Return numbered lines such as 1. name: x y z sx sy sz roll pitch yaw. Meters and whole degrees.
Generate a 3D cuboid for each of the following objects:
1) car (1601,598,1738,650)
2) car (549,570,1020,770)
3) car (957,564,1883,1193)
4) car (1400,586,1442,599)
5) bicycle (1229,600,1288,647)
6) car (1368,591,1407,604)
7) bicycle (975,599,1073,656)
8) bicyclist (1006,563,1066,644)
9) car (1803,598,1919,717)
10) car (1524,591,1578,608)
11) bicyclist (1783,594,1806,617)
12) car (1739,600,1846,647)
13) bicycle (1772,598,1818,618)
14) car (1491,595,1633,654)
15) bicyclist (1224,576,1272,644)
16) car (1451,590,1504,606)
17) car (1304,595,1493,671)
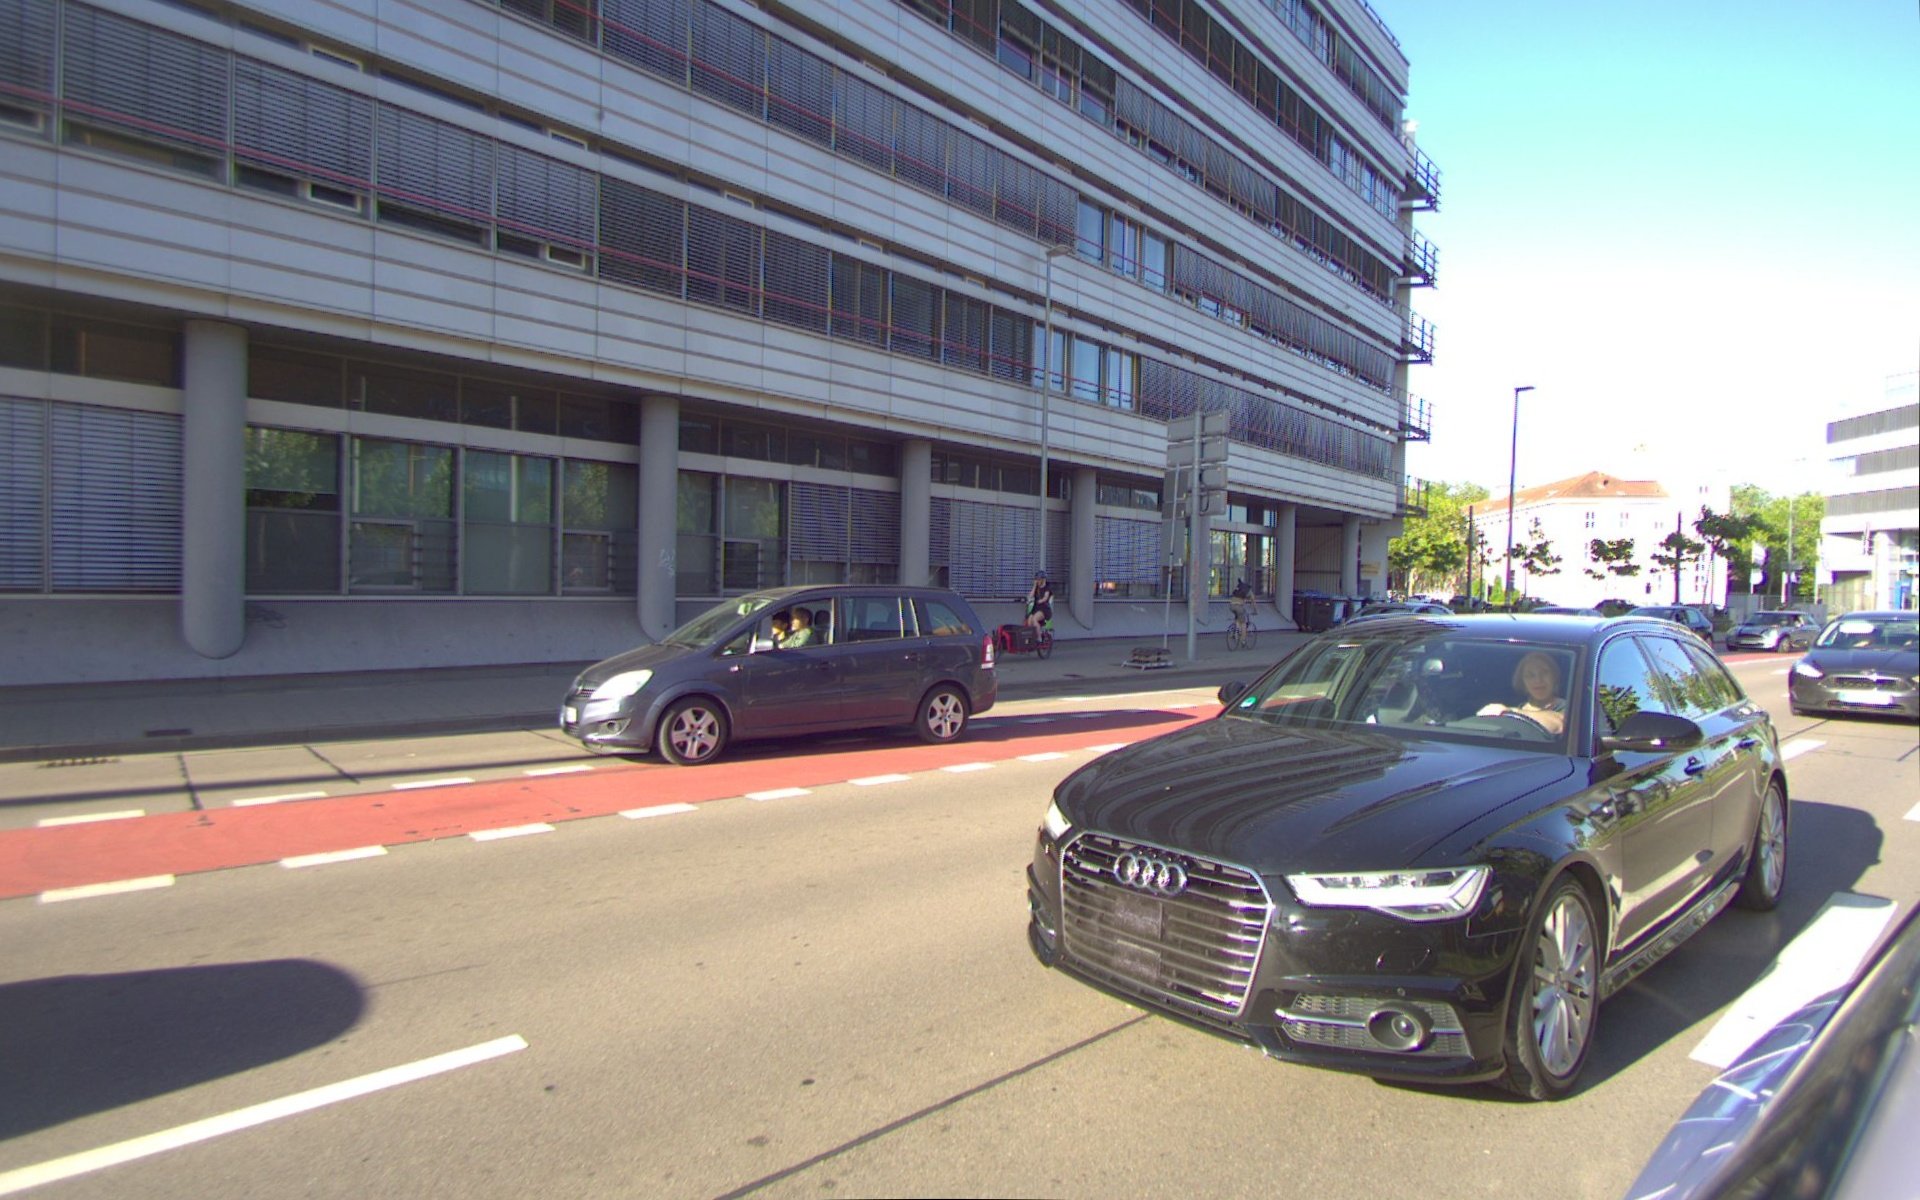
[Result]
1. car: 21.961 0.714 31.331 3.917 1.463 1.740 1 1 -25
2. car: -1.674 0.563 10.251 4.375 1.649 1.695 0 1 -32
3. car: 2.298 0.662 4.479 4.411 1.511 1.816 0 0 -36
4. car: 49.601 -0.816 108.927 1.958 1.259 4.009 1 1 -16
5. bicycle: 7.311 0.560 24.744 1.672 1.070 0.505 -1 4 -41
6. car: 48.342 -0.270 114.475 1.894 1.393 4.009 1 1 -15
7. bicycle: 1.301 0.526 20.253 2.167 1.045 0.500 0 4 -40
8. bicyclist: 1.536 0.064 20.476 1.024 1.586 0.626 0 1 -36
9. car: 13.152 0.706 14.005 4.081 1.451 1.688 0 1 -41
10. car: 55.237 -0.063 94.642 1.958 1.440 4.009 1 1 -22
11. bicyclist: 61.160 0.414 74.164 0.862 1.627 1.009 1 1 -28
12. car: 28.496 0.814 34.631 3.919 1.463 1.442 2 1 -29
13. bicycle: 61.152 0.575 74.144 0.932 1.328 2.375 0 1 -29
14. car: 16.162 0.648 27.115 4.031 1.459 1.716 1 0 -34
15. bicyclist: 7.085 0.234 24.900 0.973 1.638 0.685 0 1 -40
16. car: 51.915 -0.229 101.703 1.958 1.440 4.535 1 1 -23
17. car: 9.555 0.657 21.910 4.404 1.449 1.756 0 1 -36
